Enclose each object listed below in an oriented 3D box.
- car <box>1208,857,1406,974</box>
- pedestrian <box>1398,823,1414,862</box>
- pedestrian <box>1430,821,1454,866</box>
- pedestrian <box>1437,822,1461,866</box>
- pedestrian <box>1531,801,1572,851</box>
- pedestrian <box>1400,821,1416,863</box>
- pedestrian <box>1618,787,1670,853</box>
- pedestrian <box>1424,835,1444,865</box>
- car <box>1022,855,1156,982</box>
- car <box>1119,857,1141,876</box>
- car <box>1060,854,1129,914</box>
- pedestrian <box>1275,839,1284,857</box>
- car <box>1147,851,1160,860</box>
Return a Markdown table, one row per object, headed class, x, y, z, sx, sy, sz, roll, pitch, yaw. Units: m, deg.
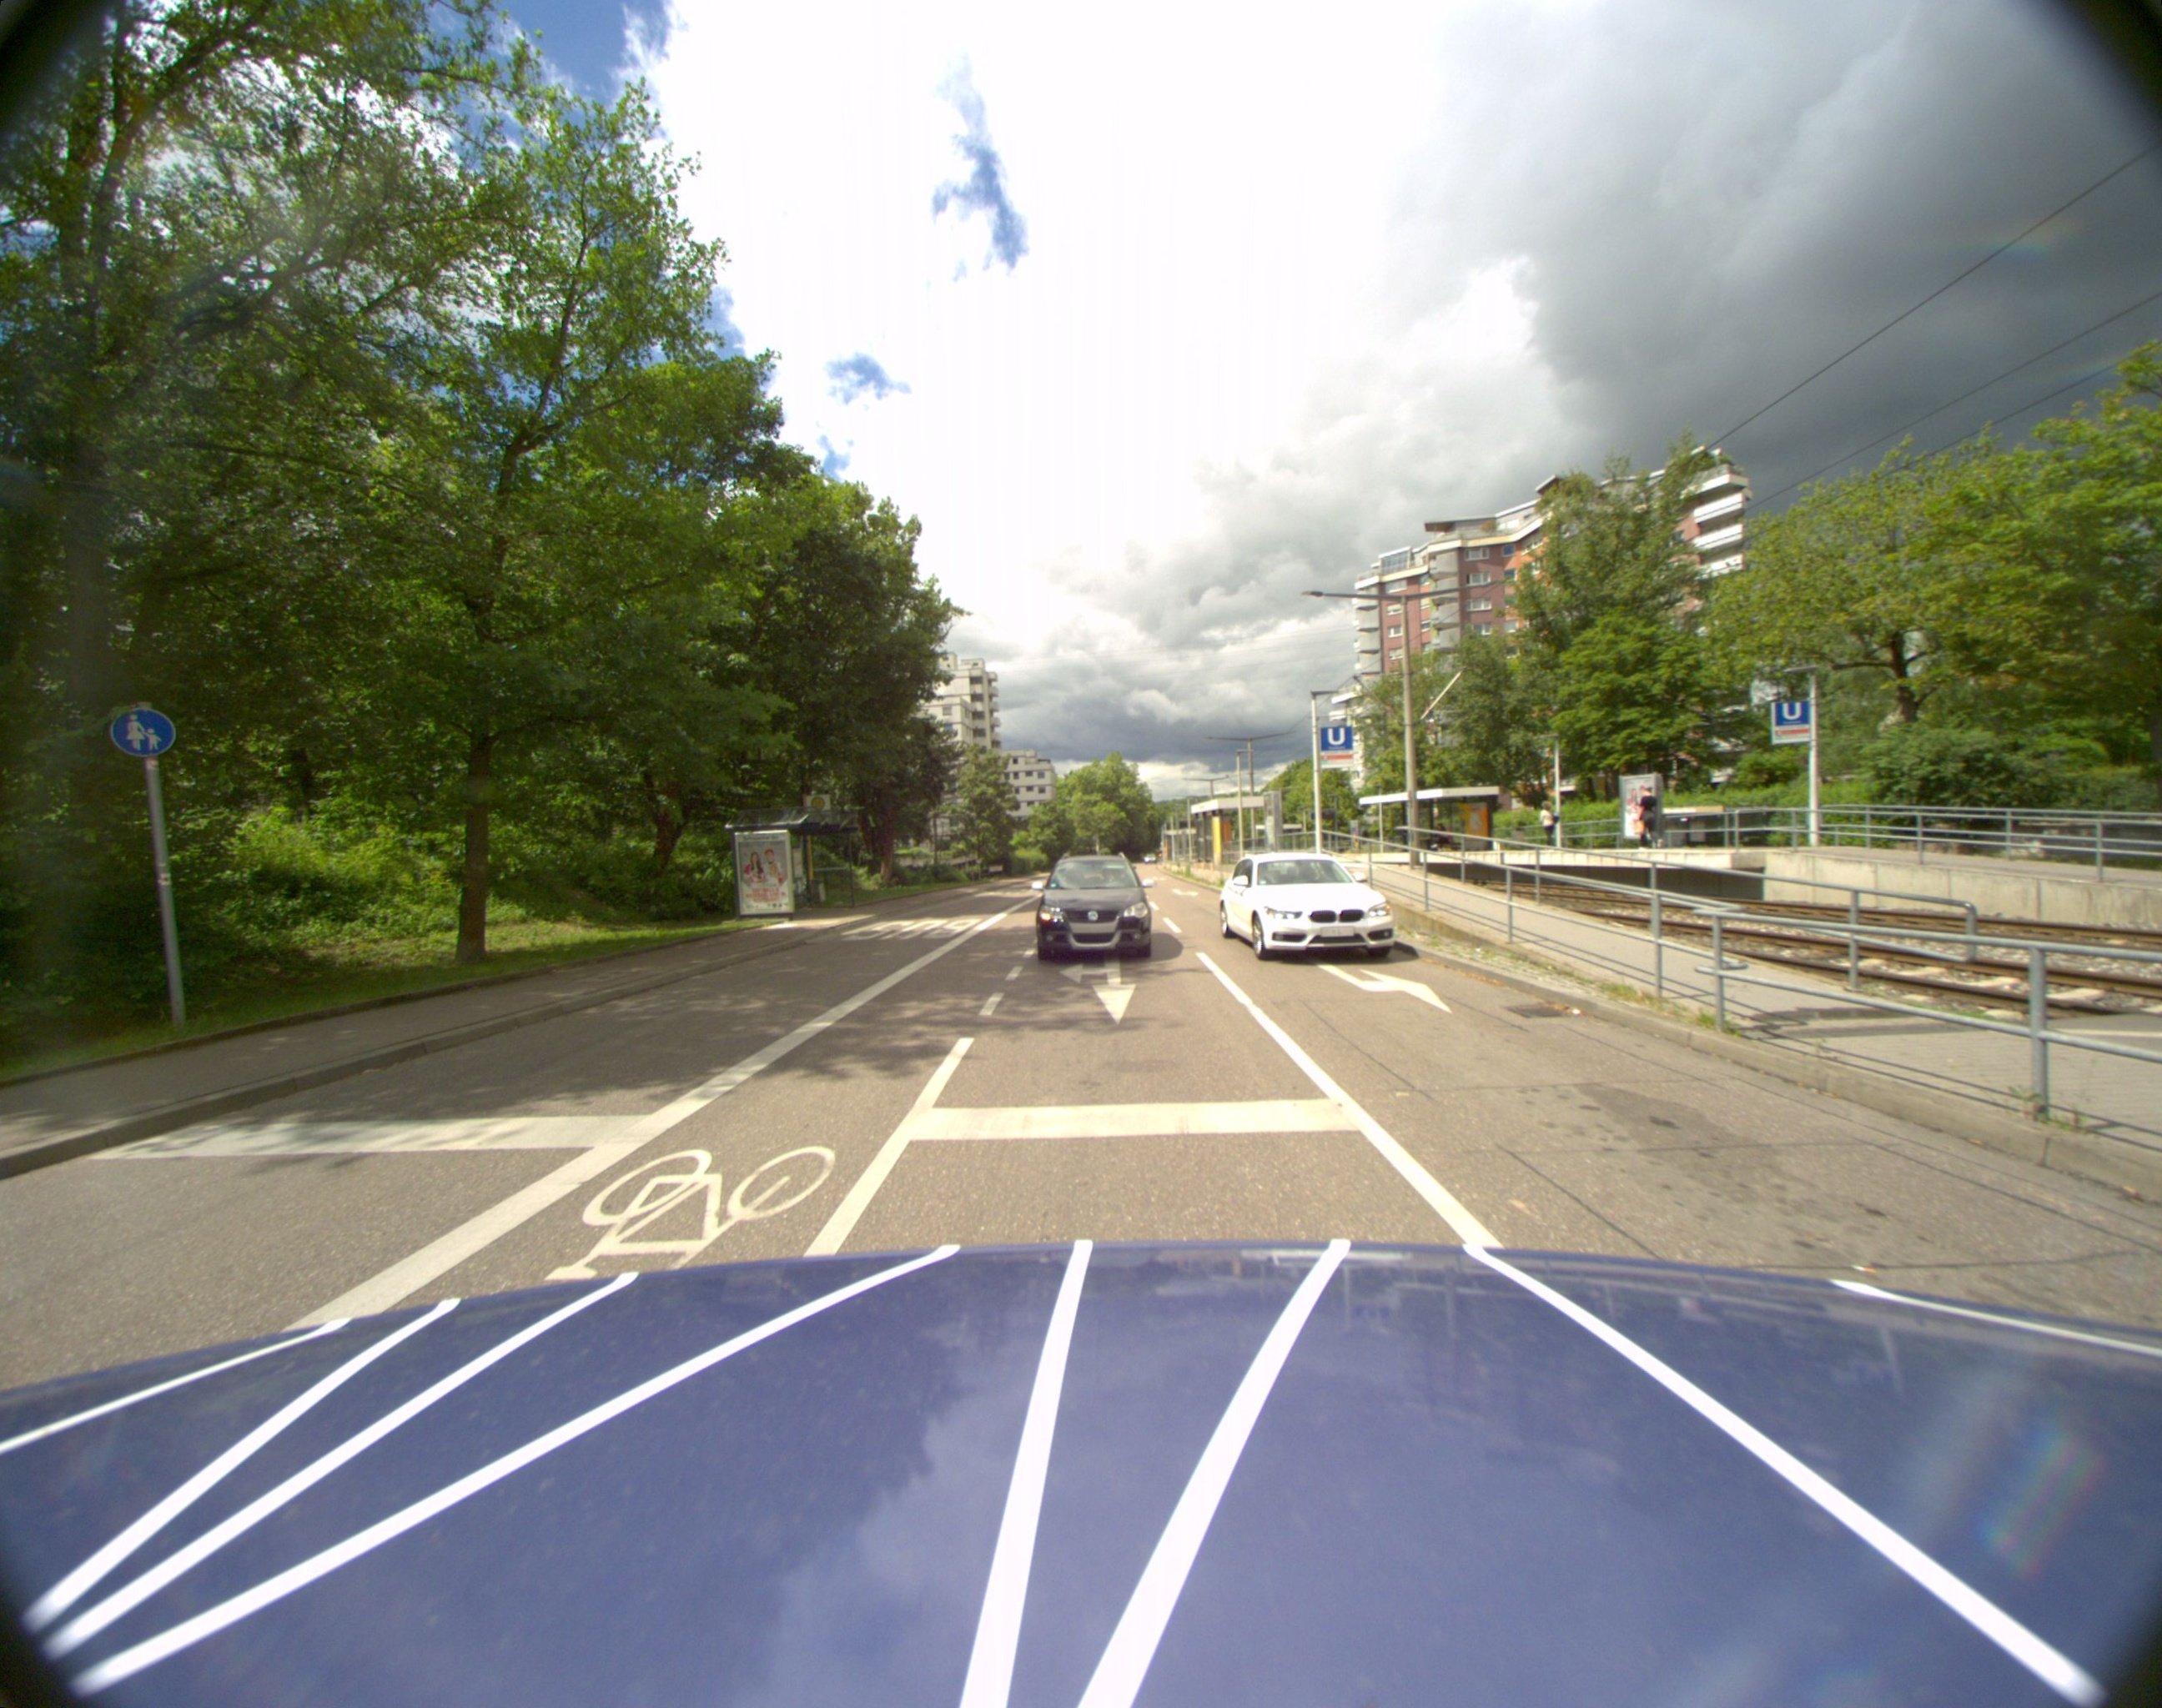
| class | x | y | z | sx | sy | sz | roll | pitch | yaw |
| --- | --- | --- | --- | --- | --- | --- | --- | --- | --- |
| car | 3.151 | 0.775 | 11.546 | 1.793 | 1.442 | 4.276 | 0 | 0 | 1 |
| pedestrian | 16.934 | -0.605 | 39.590 | 0.517 | 2.002 | 0.557 | -2 | 1 | 1 |
| pedestrian | 16.678 | -0.484 | 35.126 | 0.780 | 2.002 | 0.584 | -2 | 1 | 1 |
| pedestrian | 16.566 | -0.444 | 34.233 | 0.771 | 1.921 | 0.573 | -2 | 1 | -1 |
| pedestrian | 15.573 | -0.909 | 25.150 | 0.865 | 1.597 | 0.747 | -2 | 1 | 0 |
| pedestrian | 16.802 | -0.634 | 39.018 | 0.532 | 2.129 | 0.608 | -2 | 1 | 4 |
| pedestrian | 15.757 | -0.938 | 21.280 | 0.865 | 1.763 | 0.747 | -2 | 1 | 0 |
| pedestrian | 16.803 | -0.201 | 36.185 | 0.645 | 1.407 | 0.658 | -2 | 1 | 1 |
| car | 0.216 | 0.841 | 11.722 | 1.681 | 1.529 | 3.793 | -2 | 1 | 3 |
| car | 4.285 | 1.067 | 65.758 | 1.845 | 1.409 | 4.001 | -2 | 1 | 5 |
| car | 0.365 | 0.784 | 22.114 | 1.819 | 1.483 | 3.999 | 0 | 2 | 0 |
| pedestrian | 18.845 | -0.591 | 72.207 | 0.774 | 1.696 | 0.766 | -2 | 1 | 9 |
| car | 11.202 | 0.248 | 117.692 | 1.805 | 1.208 | 4.022 | -2 | 1 | 5 |
